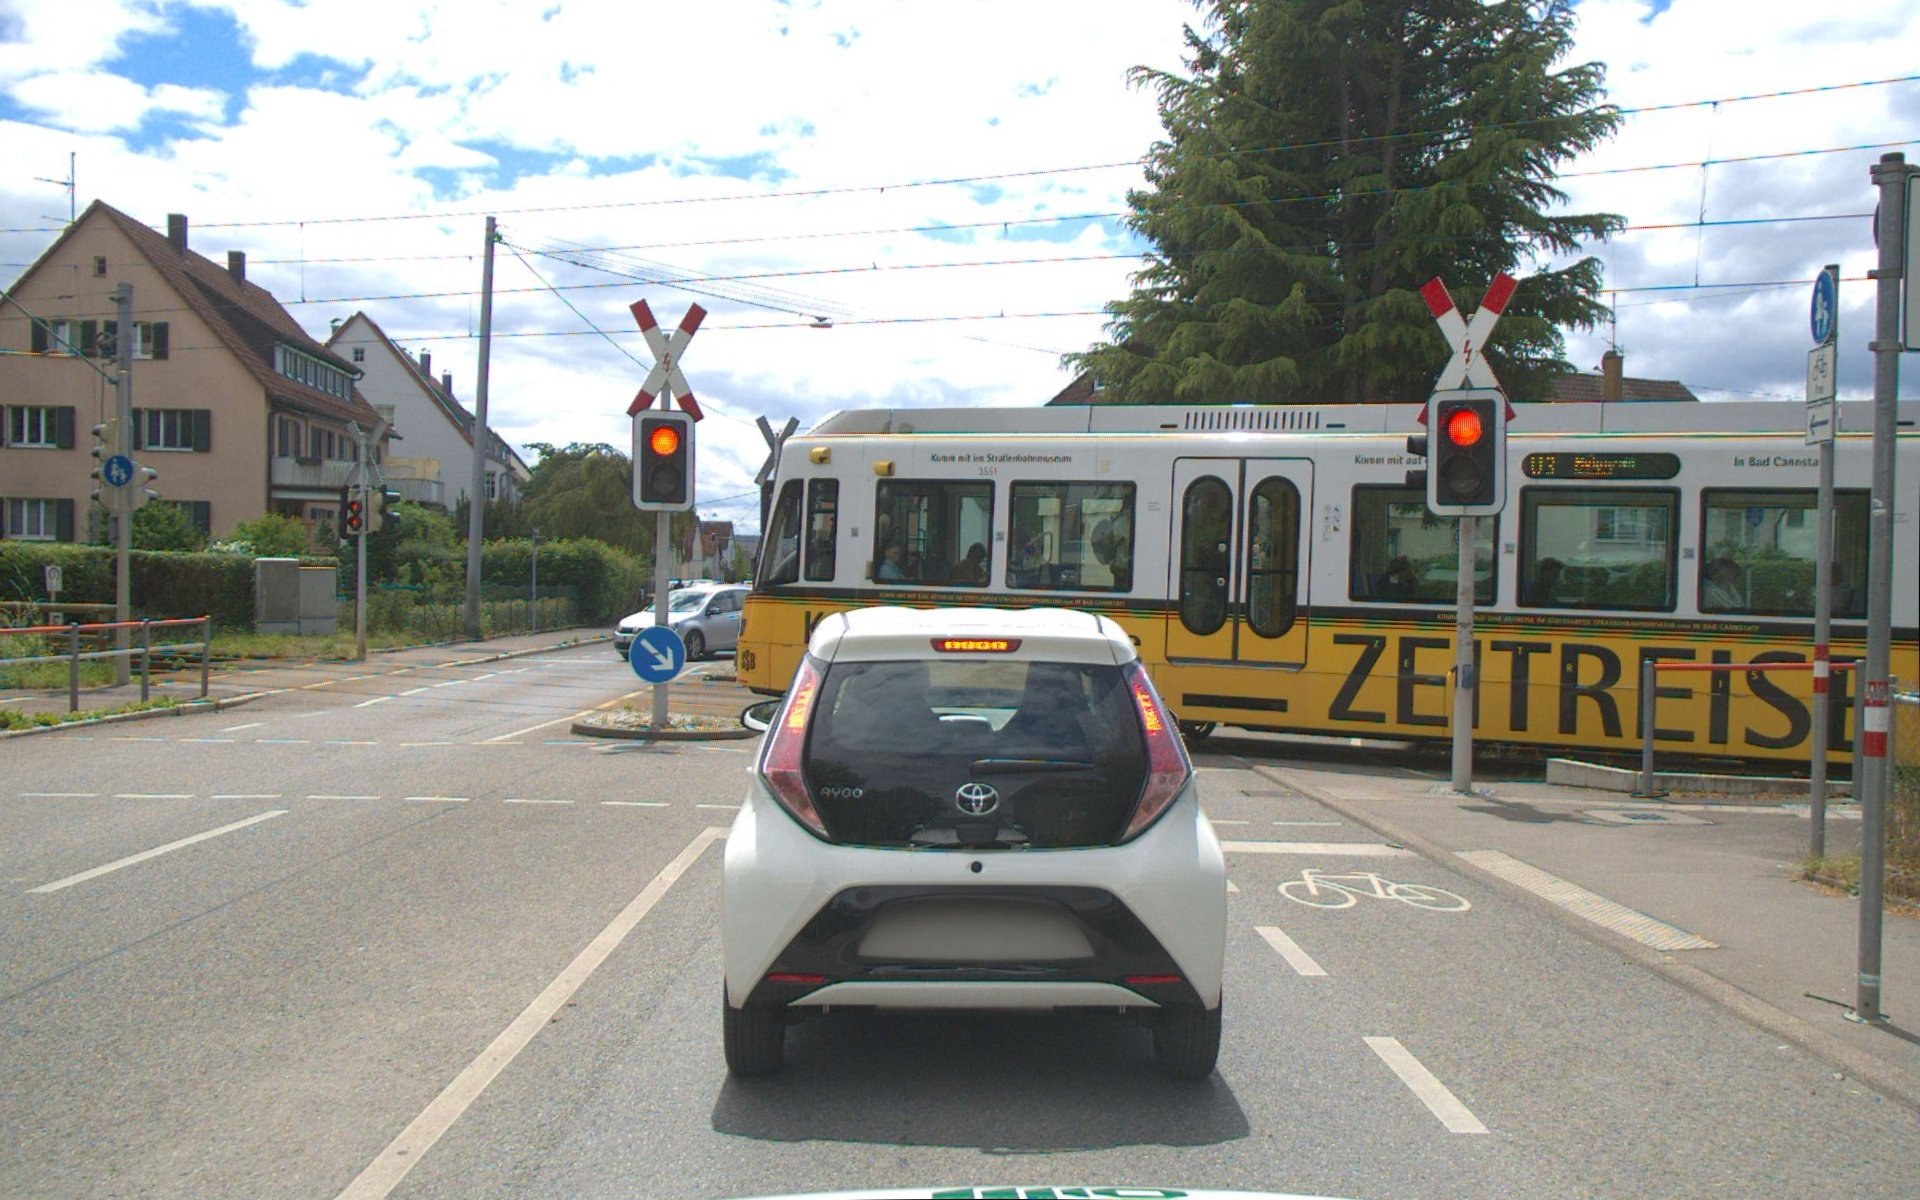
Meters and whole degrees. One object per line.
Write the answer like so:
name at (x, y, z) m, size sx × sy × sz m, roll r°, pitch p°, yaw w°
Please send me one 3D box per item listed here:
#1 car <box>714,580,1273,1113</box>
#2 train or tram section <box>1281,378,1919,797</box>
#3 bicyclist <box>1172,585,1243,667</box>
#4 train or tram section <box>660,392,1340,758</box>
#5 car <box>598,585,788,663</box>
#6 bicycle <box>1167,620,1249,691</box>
car at (0.073, 0.715, 6.733) m, size 1.588 × 1.512 × 3.999 m, roll 1°, pitch 0°, yaw -1°
train or tram section at (7.401, -0.170, 17.026) m, size 7.535 × 3.786 × 2.869 m, roll 2°, pitch 0°, yaw 22°
bicyclist at (3.938, 0.401, 26.301) m, size 0.912 × 1.269 × 1.102 m, roll 0°, pitch 0°, yaw 21°
train or tram section at (0.463, -0.379, 19.845) m, size 7.535 × 3.786 × 2.869 m, roll 2°, pitch 0°, yaw 22°
car at (-5.464, 0.466, 34.318) m, size 1.657 × 1.483 × 4.060 m, roll 1°, pitch 1°, yaw 31°
bicycle at (3.971, 0.857, 26.391) m, size 0.912 × 1.058 × 1.915 m, roll 0°, pitch 0°, yaw 20°
